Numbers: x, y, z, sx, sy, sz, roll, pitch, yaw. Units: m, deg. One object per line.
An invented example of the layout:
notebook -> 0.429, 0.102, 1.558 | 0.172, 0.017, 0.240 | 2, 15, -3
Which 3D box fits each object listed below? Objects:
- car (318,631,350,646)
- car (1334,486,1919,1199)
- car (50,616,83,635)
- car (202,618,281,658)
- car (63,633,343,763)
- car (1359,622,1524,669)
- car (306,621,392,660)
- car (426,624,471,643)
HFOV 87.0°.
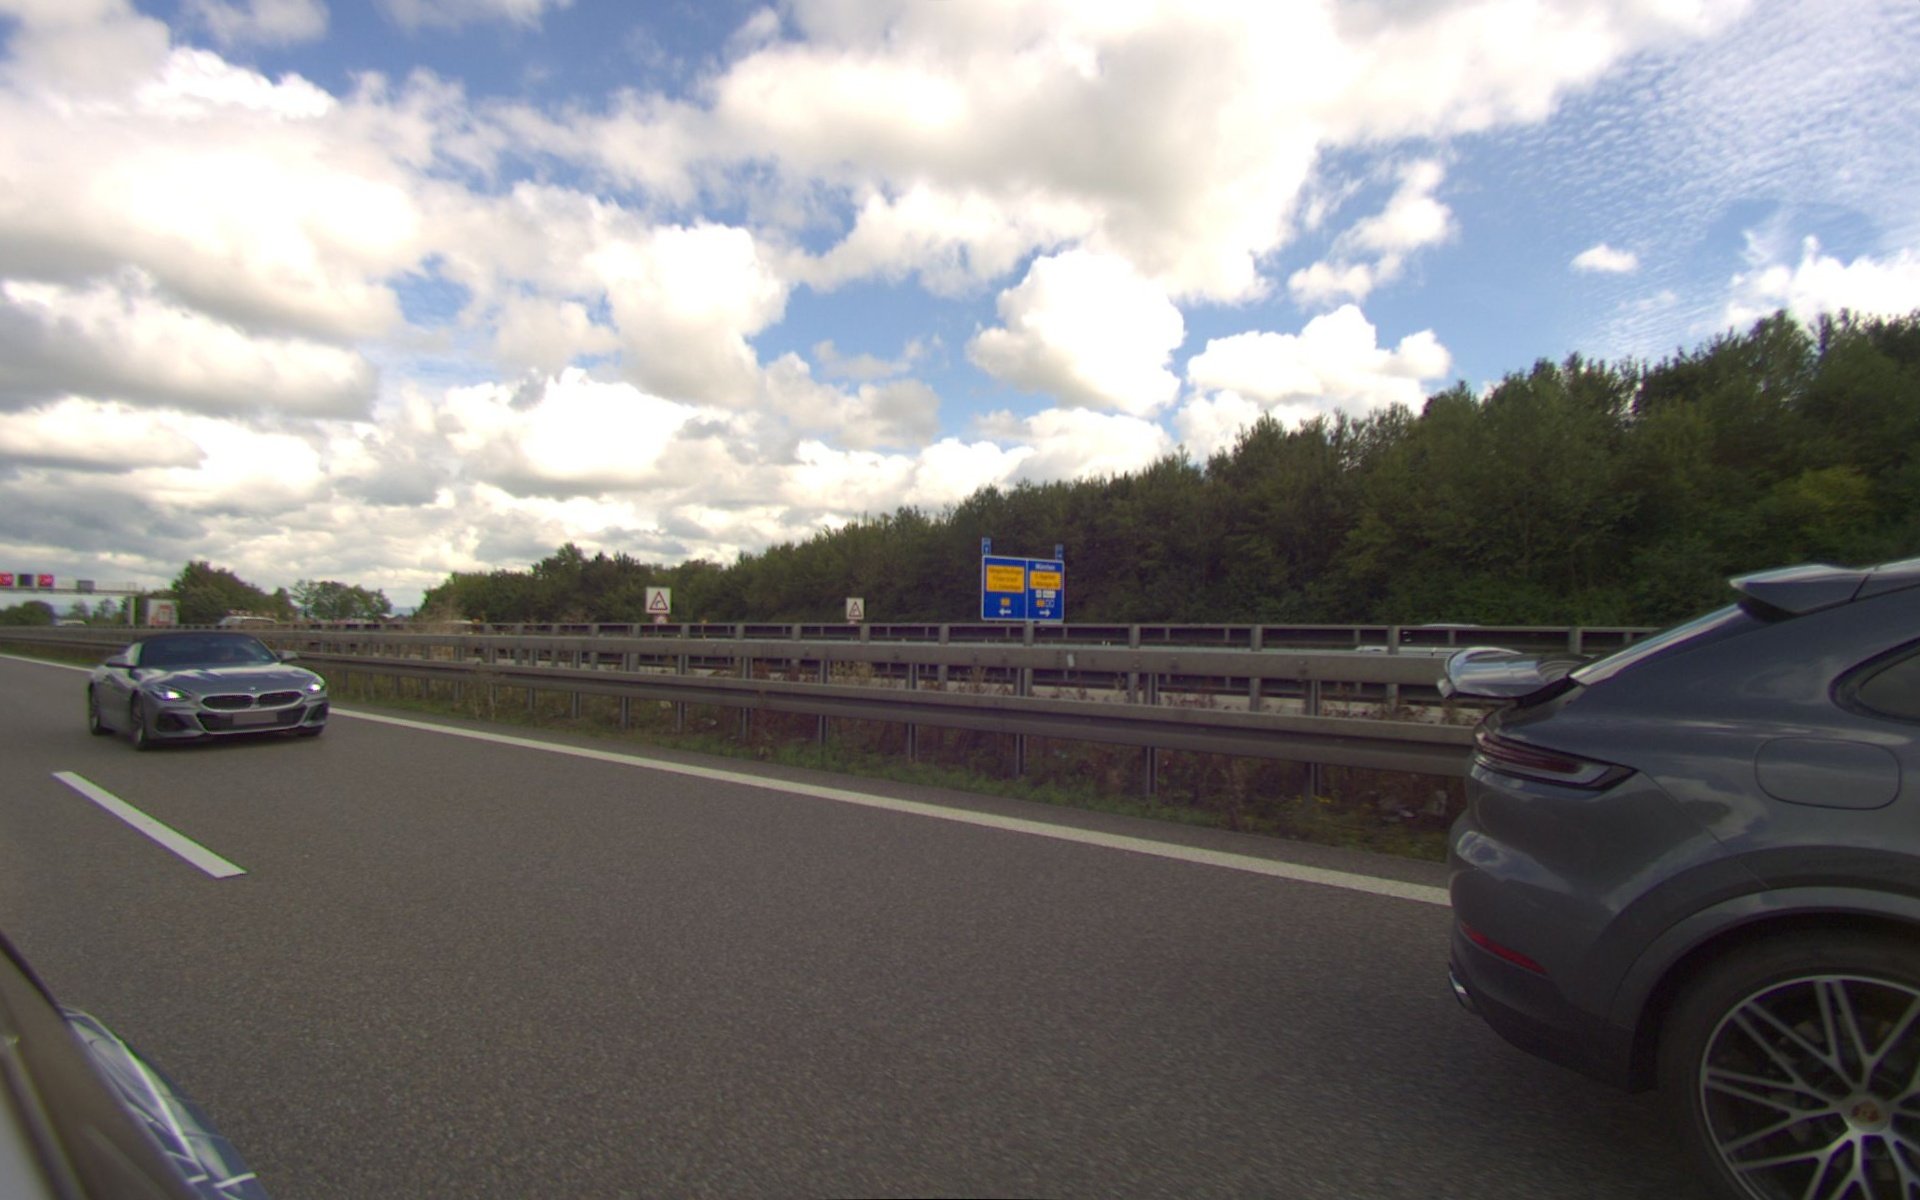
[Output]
car -> -71.172, 4.410, 114.941 | 5.007, 1.648, 1.791 | -2, -2, 42
car -> 3.727, 0.573, 1.713 | 5.496, 1.648, 1.893 | -1, -1, 41
car -> -82.091, 2.355, 92.957 | 5.007, 1.648, 1.791 | -1, -1, 42
car -> -29.673, 1.548, 41.755 | 4.170, 1.589, 1.658 | -2, -2, 40
car -> -9.809, 1.109, 12.949 | 4.939, 1.312, 1.854 | -1, -1, 41
car -> 14.512, 1.343, 30.665 | 4.244, 1.325, 1.626 | -2, -2, 40
car -> -27.078, 1.760, 44.789 | 5.005, 1.648, 1.792 | -1, -1, 41
car -> -45.114, 2.946, 89.239 | 5.008, 1.589, 1.752 | -2, -2, 40
